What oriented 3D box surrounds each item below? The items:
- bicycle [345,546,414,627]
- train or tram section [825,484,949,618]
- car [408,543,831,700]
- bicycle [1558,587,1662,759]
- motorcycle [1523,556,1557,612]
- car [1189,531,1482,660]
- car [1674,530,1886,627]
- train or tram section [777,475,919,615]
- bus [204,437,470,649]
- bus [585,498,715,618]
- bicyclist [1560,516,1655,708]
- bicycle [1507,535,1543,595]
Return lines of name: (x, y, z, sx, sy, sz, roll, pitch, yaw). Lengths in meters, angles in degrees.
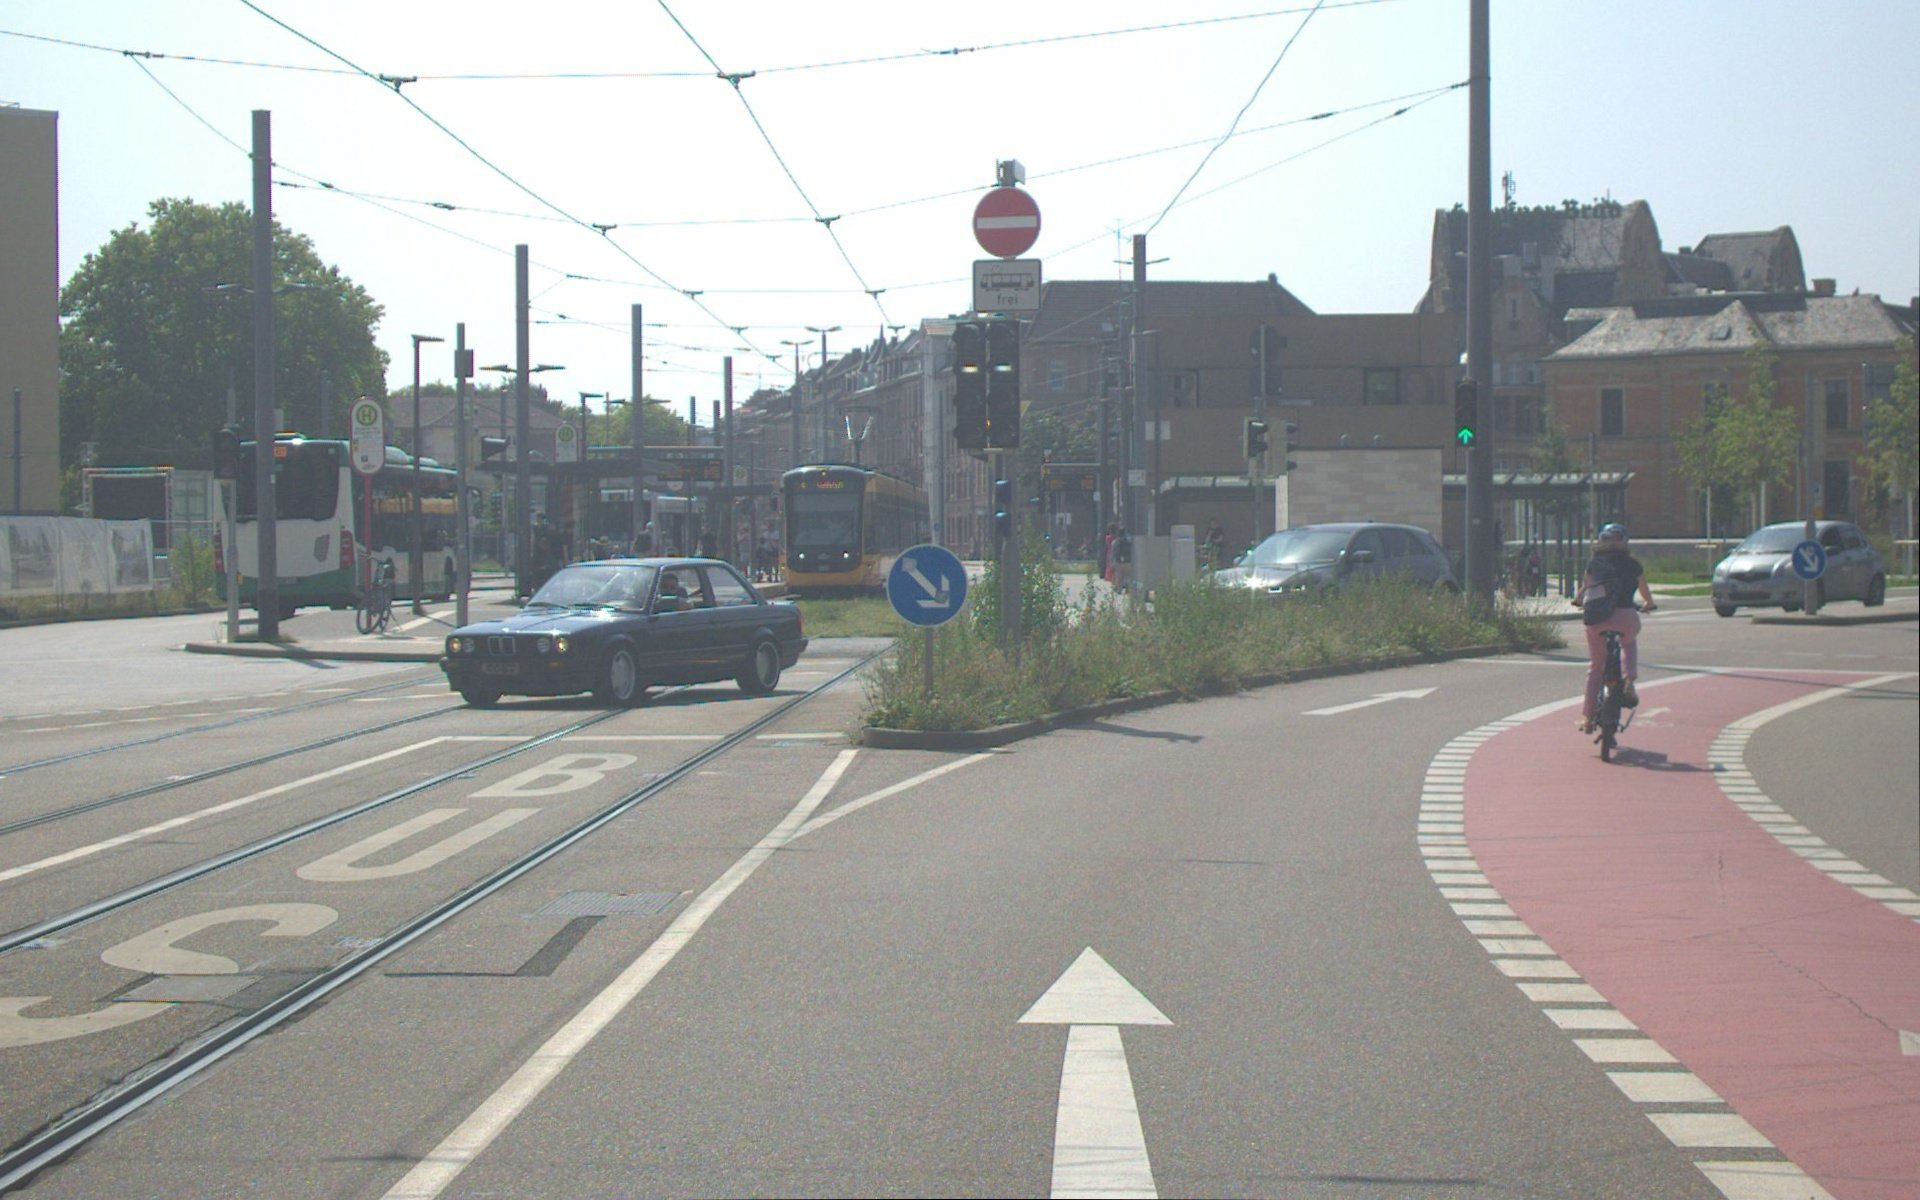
bicycle: (-8.924, -0.213, 52.918, 0.607, 1.218, 1.705, 0, 0, 6)
train or tram section: (-2.241, -1.552, 114.050, 2.886, 4.054, 19.140, 0, 0, 2)
car: (-3.109, 0.164, 32.412, 1.690, 1.373, 4.611, 0, 0, 28)
bicycle: (4.615, 0.494, 24.347, 0.604, 1.159, 1.809, 0, 1, 14)
motorcycle: (12.753, -0.368, 75.561, 0.604, 1.206, 2.252, 0, 1, 13)
car: (4.977, -0.085, 45.064, 1.775, 1.605, 4.664, 0, 1, 35)
car: (13.495, -0.370, 56.420, 1.654, 1.525, 4.315, 0, 1, 39)
train or tram section: (-2.935, -1.444, 95.597, 2.856, 3.536, 17.741, 0, 0, 2)
bus: (-11.840, -1.041, 66.434, 2.958, 3.762, 10.596, 0, 0, 1)
bus: (-10.006, -1.344, 112.034, 2.710, 3.714, 10.418, 0, 0, 3)
bicyclist: (4.568, 0.084, 24.230, 0.603, 1.331, 0.659, 0, 0, 15)
bicycle: (11.518, -0.712, 70.069, 0.604, 1.206, 1.809, 0, 1, 13)
